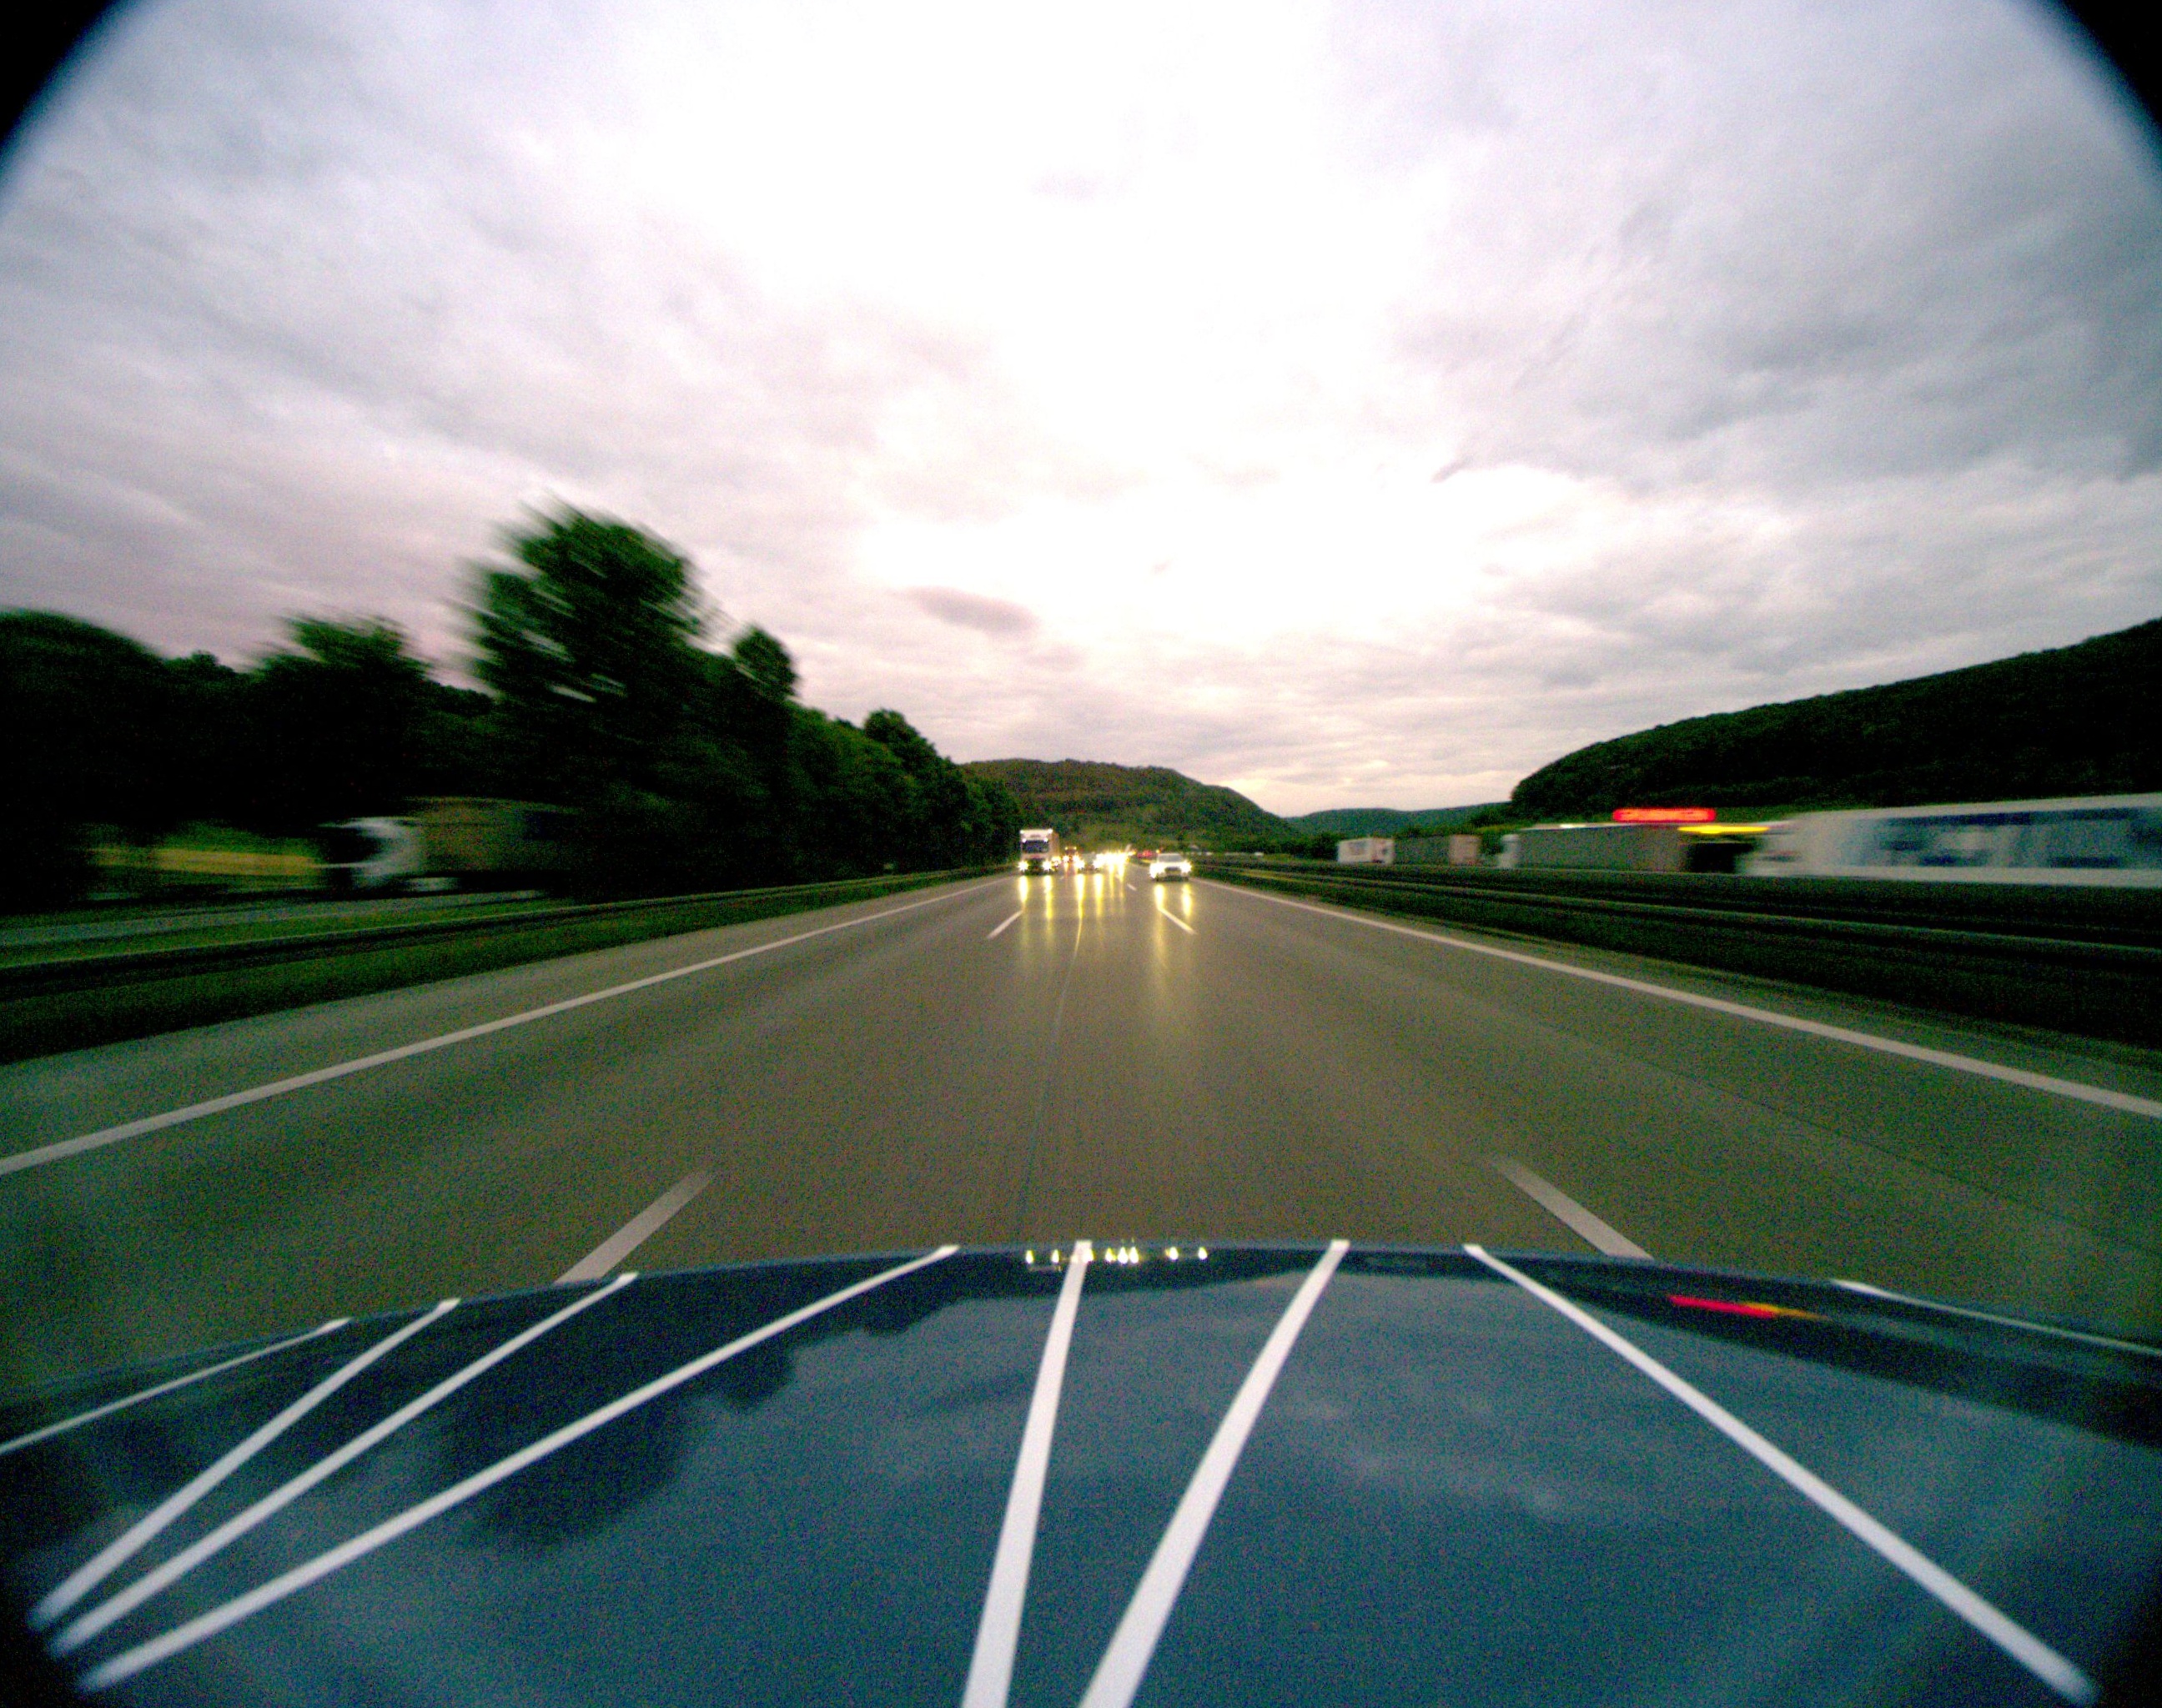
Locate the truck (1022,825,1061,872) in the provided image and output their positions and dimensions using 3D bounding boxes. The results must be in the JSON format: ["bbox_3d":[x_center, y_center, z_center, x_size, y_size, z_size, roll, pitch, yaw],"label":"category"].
[{"bbox_3d":[-3.362,-0.499,66.850,2.623,3.805,10.385,0,1,1],"label":"truck"}]

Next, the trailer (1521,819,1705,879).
[{"bbox_3d":[34.522,-0.302,50.526,2.880,3.405,13.851,-1,0,2],"label":"trailer"}]

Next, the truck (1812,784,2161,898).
[{"bbox_3d":[33.631,-0.424,26.233,2.881,3.405,13.785,-1,0,-3],"label":"truck"}]

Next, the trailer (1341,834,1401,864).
[{"bbox_3d":[36.038,-0.577,95.130,2.880,3.405,13.226,-1,0,2],"label":"trailer"}]

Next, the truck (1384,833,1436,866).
[{"bbox_3d":[35.592,-0.498,82.532,2.880,3.405,6.727,-1,0,2],"label":"truck"}]

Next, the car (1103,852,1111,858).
[{"bbox_3d":[6.480,0.265,186.726,1.898,1.503,4.000,-1,0,1],"label":"car"}]

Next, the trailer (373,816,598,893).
[{"bbox_3d":[-34.148,-0.023,44.843,2.846,3.893,13.573,0,0,-1],"label":"trailer"}]

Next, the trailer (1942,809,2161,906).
[{"bbox_3d":[48.894,0.120,34.007,3.025,4.235,15.947,-1,0,2],"label":"trailer"}]

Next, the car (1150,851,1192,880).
[{"bbox_3d":[4.947,0.609,42.499,1.794,1.492,5.037,-2,0,1],"label":"car"}]

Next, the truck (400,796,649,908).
[{"bbox_3d":[-22.809,-0.128,32.531,2.847,3.893,11.981,0,0,-6],"label":"truck"}]

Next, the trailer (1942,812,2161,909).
[{"bbox_3d":[48.897,0.260,34.008,3.025,4.235,15.947,-1,0,2],"label":"trailer"}]

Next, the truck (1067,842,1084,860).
[{"bbox_3d":[-1.195,-0.743,171.456,3.119,3.850,14.163,2,0,2],"label":"truck"}]

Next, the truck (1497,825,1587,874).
[{"bbox_3d":[34.760,-0.319,57.583,2.880,3.405,6.727,-1,0,2],"label":"truck"}]

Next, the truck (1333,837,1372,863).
[{"bbox_3d":[36.328,-0.561,101.966,2.880,3.356,7.175,-1,0,2],"label":"truck"}]

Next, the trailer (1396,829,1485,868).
[{"bbox_3d":[35.353,-0.495,75.586,2.880,3.405,13.571,-1,0,2],"label":"trailer"}]

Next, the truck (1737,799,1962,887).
[{"bbox_3d":[33.261,-0.432,33.345,2.881,3.405,6.724,-1,0,-3],"label":"truck"}]

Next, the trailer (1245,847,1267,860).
[{"bbox_3d":[44.384,-0.172,193.215,2.874,3.070,11.158,0,0,0],"label":"trailer"}]

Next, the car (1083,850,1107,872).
[{"bbox_3d":[1.107,0.553,61.854,1.927,1.674,4.806,0,1,0],"label":"car"}]

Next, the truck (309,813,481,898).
[{"bbox_3d":[-33.993,0.029,38.034,2.846,3.893,6.383,0,1,-1],"label":"truck"}]

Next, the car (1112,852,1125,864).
[{"bbox_3d":[5.708,0.573,116.867,1.894,1.650,5.639,-1,1,2],"label":"car"}]

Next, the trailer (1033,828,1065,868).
[{"bbox_3d":[-3.166,-0.612,76.470,2.623,3.805,8.877,0,1,1],"label":"trailer"}]
